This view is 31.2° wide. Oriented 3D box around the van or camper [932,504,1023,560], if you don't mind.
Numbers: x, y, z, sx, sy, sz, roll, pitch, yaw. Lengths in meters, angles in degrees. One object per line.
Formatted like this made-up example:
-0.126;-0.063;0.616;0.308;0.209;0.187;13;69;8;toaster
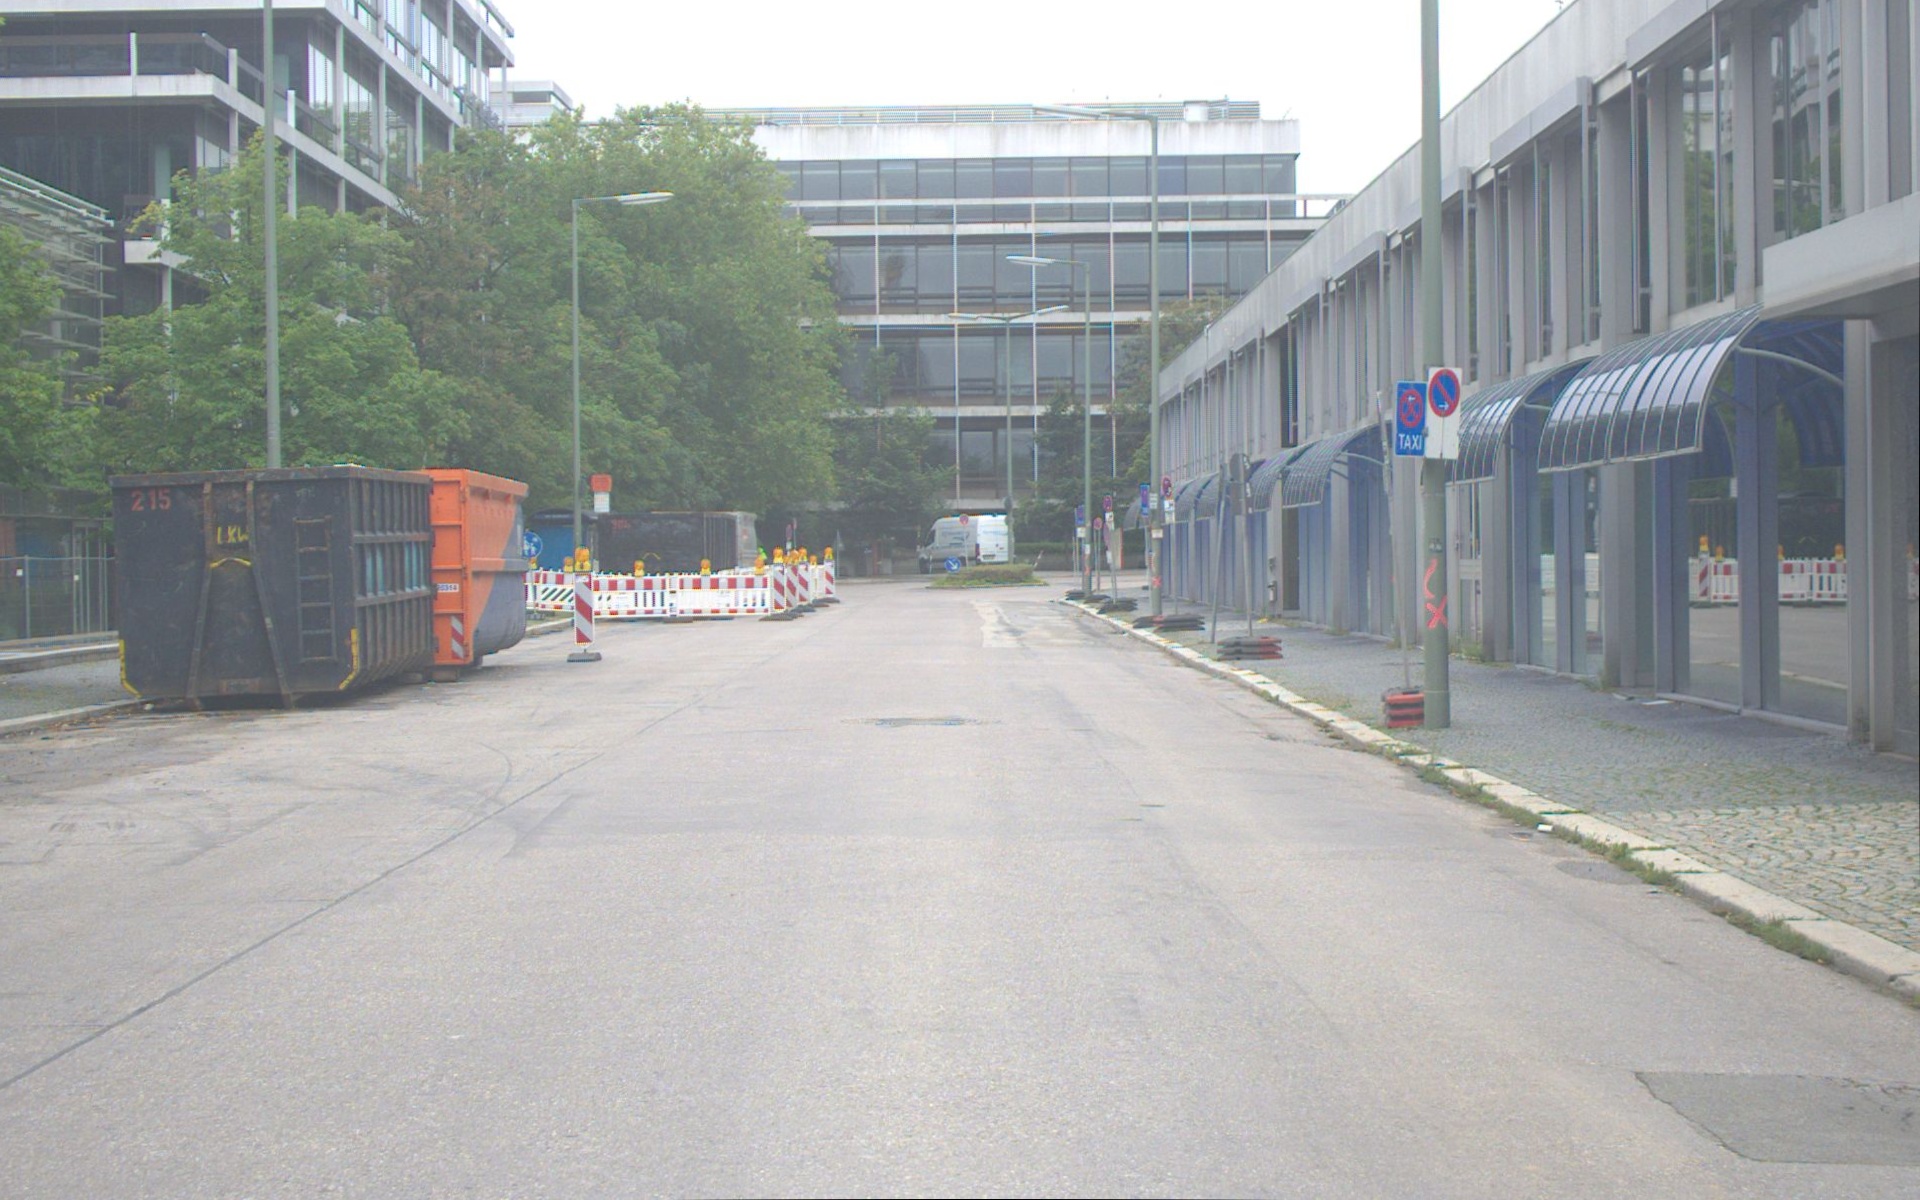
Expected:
0.777;-3.063;155.987;2.085;2.483;5.068;-1;1;-25;van or camper

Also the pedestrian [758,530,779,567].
-8.622;-2.324;154.878;0.741;1.671;0.682;-1;1;-19;pedestrian
